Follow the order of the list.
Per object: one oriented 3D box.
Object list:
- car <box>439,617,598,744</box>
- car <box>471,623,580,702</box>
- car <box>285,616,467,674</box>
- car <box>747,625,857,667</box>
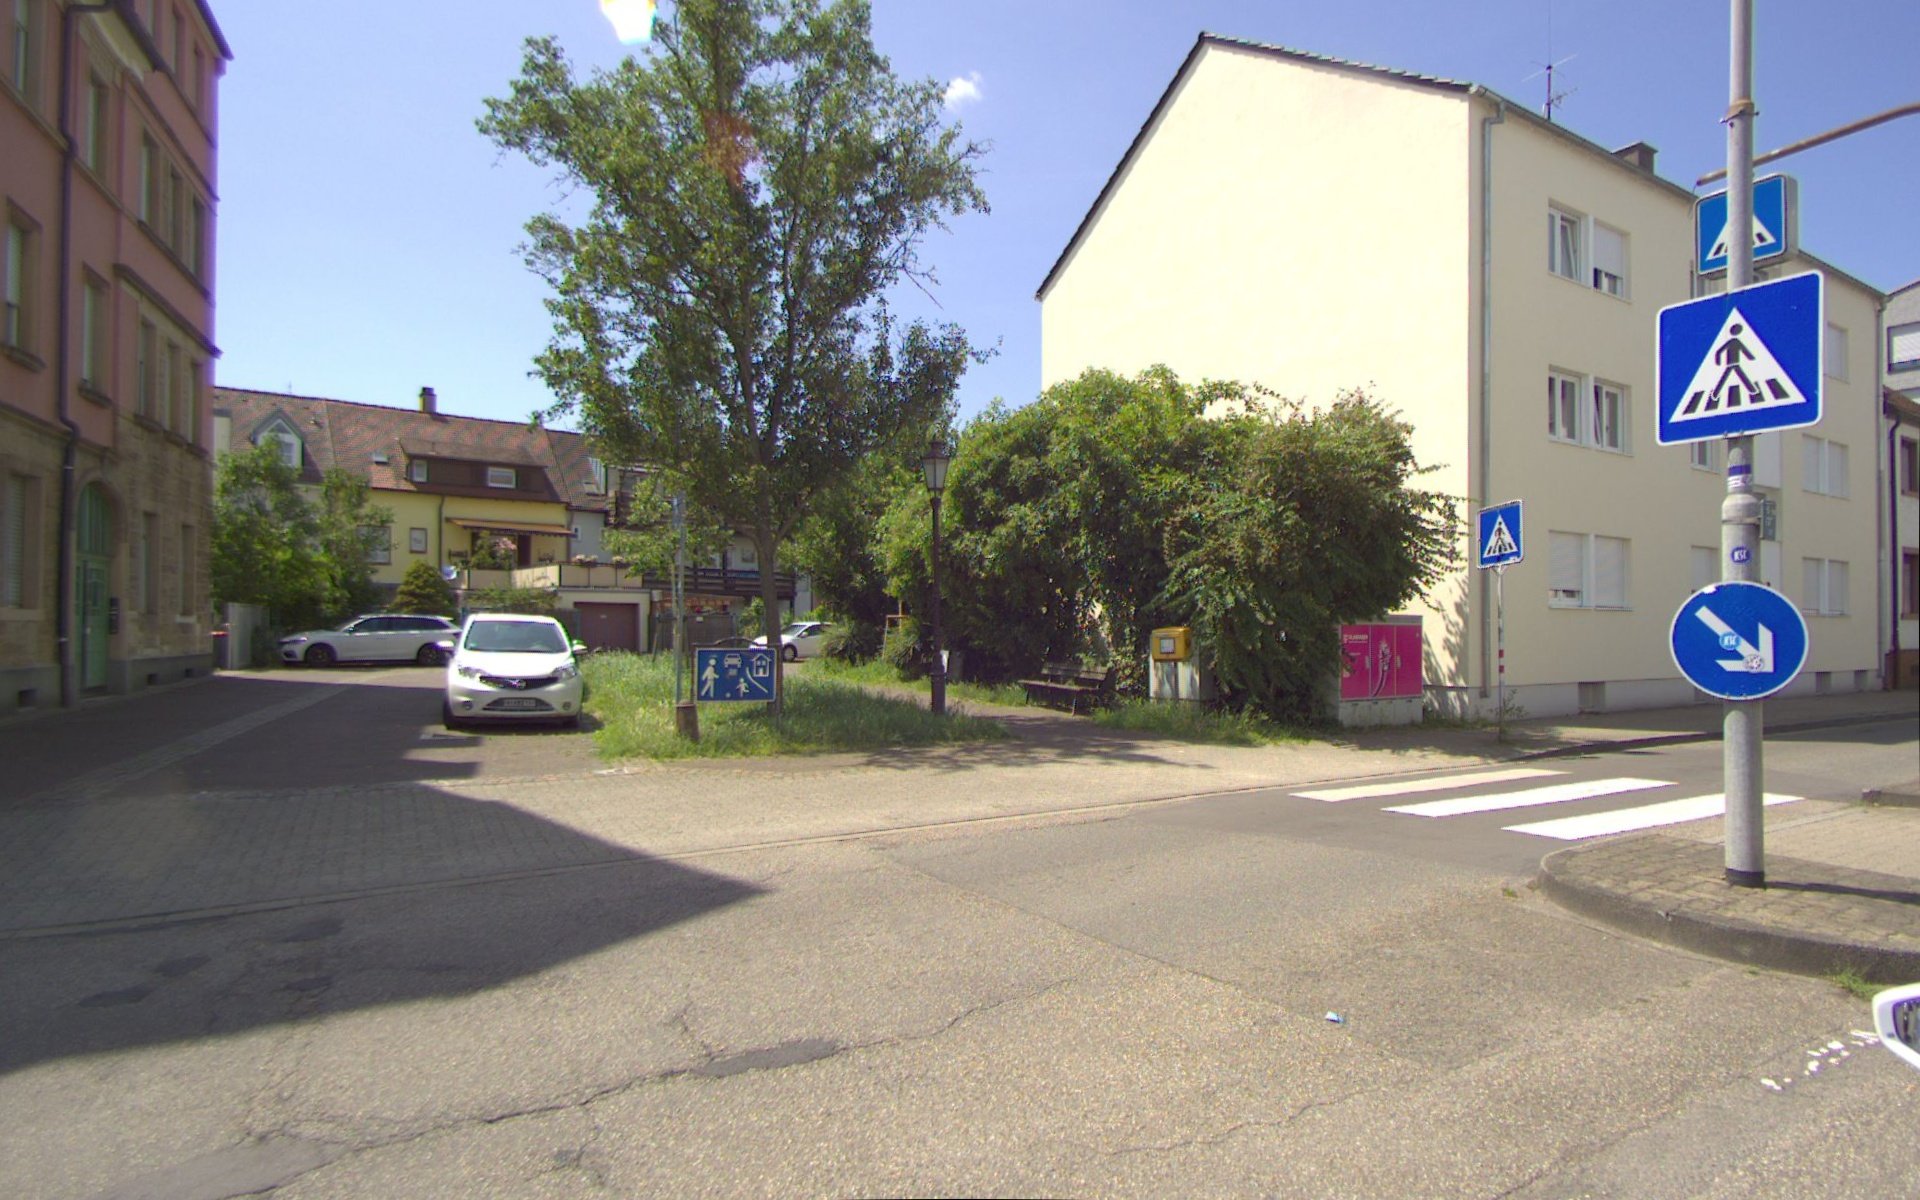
[{"bbox_3d":[-6.480,1.030,14.562,1.845,1.522,3.972,1,-1,-27],"label":"car"},{"bbox_3d":[-8.802,1.197,20.175,1.780,1.416,3.973,1,-2,-27],"label":"car"},{"bbox_3d":[-16.393,1.232,28.292,4.248,1.474,1.653,1,0,-38],"label":"car"},{"bbox_3d":[-5.876,1.684,37.630,1.439,1.439,3.975,1,0,44],"label":"car"}]
